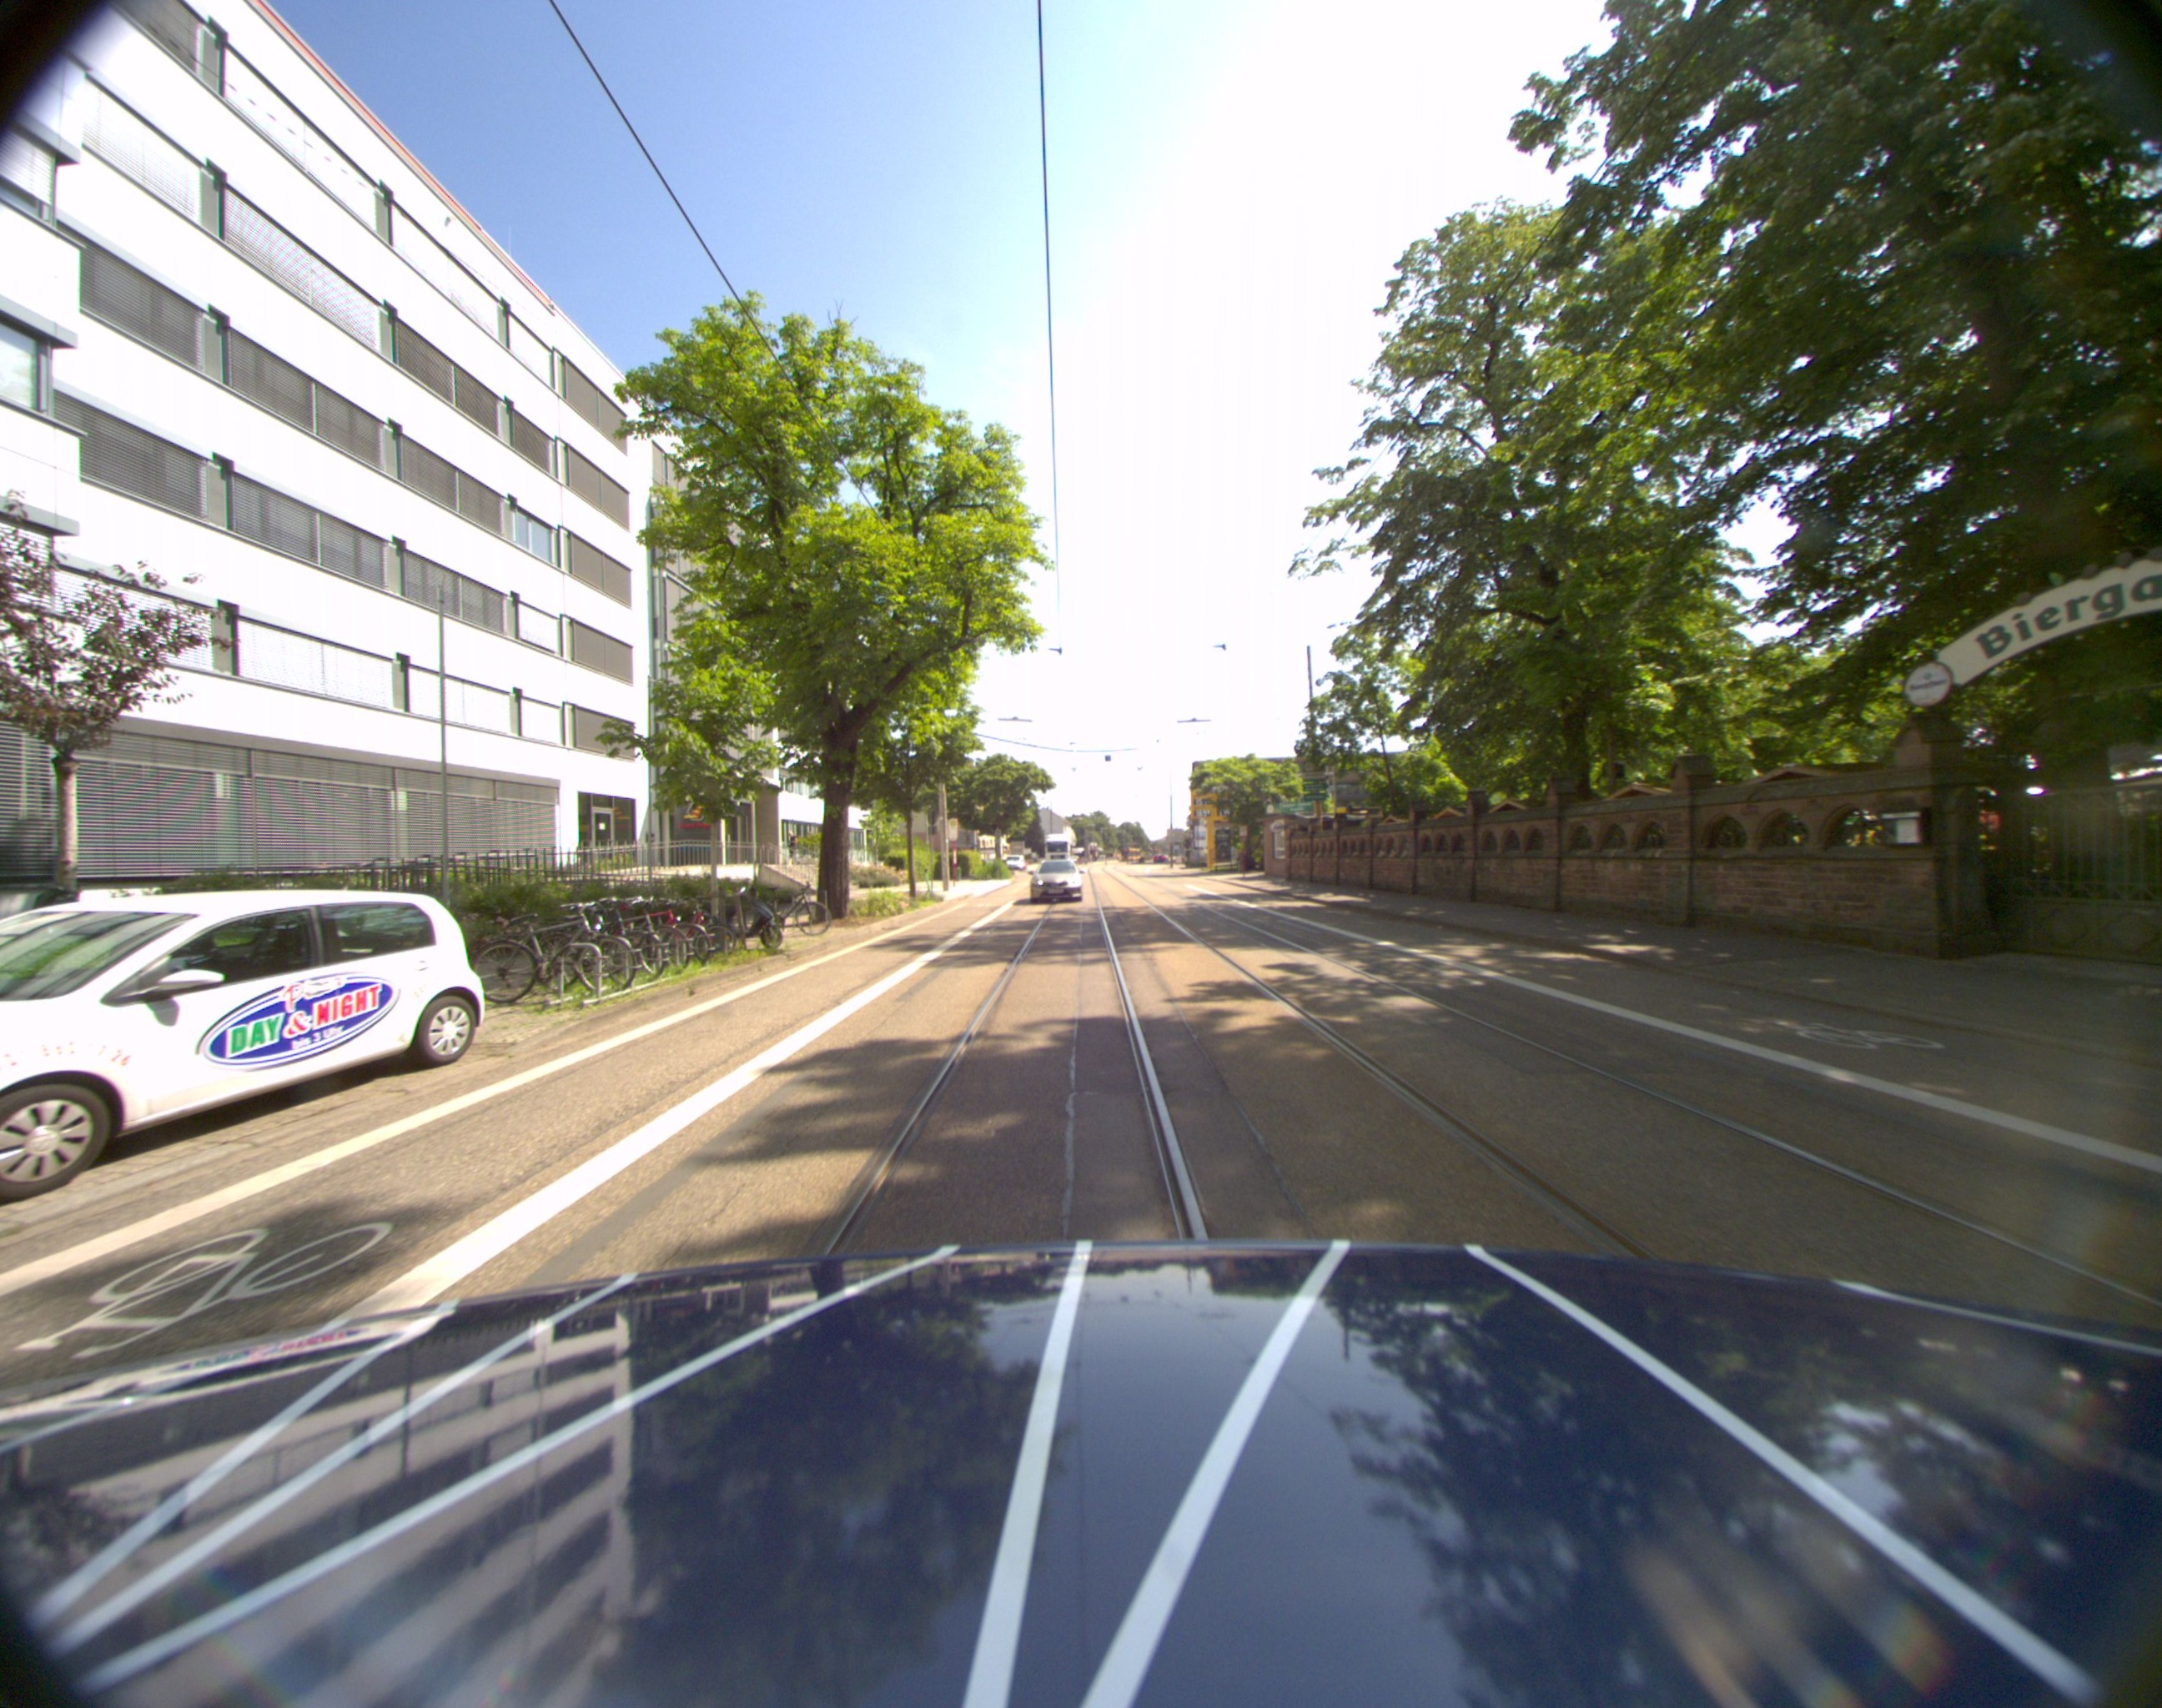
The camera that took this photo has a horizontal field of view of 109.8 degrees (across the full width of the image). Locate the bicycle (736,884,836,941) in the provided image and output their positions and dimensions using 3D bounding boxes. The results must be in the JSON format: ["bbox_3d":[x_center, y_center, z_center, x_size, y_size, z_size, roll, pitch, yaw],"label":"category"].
[{"bbox_3d":[-5.986,1.185,15.494,1.779,1.076,0.596,-1,1,-2],"label":"bicycle"}]

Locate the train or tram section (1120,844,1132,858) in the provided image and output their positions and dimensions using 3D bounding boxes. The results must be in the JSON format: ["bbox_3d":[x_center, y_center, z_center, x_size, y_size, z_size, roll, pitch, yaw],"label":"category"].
[{"bbox_3d":[11.715,-0.793,194.999,2.685,3.460,13.342,-1,0,5],"label":"train or tram section"}]

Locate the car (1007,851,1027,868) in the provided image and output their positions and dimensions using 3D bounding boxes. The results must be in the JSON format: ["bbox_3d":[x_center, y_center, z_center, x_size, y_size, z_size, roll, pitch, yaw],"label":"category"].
[{"bbox_3d":[-7.933,0.709,94.385,1.981,2.043,5.191,0,0,1],"label":"car"}]

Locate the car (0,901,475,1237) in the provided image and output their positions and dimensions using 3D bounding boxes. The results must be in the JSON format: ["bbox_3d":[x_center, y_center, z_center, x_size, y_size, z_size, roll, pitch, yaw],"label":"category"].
[{"bbox_3d":[-6.025,1.145,4.526,1.594,1.442,3.946,-1,0,1],"label":"car"}]

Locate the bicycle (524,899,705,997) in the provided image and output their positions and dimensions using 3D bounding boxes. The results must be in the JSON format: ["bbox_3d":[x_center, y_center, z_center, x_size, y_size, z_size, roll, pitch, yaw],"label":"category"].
[{"bbox_3d":[-6.043,1.209,9.899,1.917,1.076,0.550,-4,1,-2],"label":"bicycle"}]

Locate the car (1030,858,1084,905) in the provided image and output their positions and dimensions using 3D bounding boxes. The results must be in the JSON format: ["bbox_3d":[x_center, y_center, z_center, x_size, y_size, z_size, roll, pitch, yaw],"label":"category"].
[{"bbox_3d":[-0.831,0.902,27.074,1.695,1.440,4.480,-2,0,-1],"label":"car"}]

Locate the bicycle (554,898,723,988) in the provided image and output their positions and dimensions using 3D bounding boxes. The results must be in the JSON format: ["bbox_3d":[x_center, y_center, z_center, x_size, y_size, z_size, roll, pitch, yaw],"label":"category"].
[{"bbox_3d":[-6.079,1.213,10.499,1.917,1.076,0.550,-3,1,-2],"label":"bicycle"}]

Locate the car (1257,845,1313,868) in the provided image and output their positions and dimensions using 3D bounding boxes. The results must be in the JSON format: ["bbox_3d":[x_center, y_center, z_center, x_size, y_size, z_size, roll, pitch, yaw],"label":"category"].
[{"bbox_3d":[15.140,0.171,56.224,1.944,1.615,4.587,-1,1,45],"label":"car"}]

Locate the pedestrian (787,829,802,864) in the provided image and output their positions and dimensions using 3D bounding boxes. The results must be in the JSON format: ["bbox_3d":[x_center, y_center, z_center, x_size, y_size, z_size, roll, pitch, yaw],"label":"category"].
[{"bbox_3d":[-14.275,-0.373,37.856,0.500,1.718,0.547,-2,1,0],"label":"pedestrian"}]

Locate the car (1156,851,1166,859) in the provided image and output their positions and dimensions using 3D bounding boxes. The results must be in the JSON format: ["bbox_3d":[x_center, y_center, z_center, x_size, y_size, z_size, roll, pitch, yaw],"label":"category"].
[{"bbox_3d":[16.292,0.284,154.806,1.750,1.562,3.892,0,1,5],"label":"car"}]

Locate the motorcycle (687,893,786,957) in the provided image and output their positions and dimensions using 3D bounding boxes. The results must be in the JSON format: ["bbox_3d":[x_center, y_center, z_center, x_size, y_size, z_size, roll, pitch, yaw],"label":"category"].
[{"bbox_3d":[-6.031,1.241,13.343,1.469,1.040,0.534,-1,1,-2],"label":"motorcycle"}]

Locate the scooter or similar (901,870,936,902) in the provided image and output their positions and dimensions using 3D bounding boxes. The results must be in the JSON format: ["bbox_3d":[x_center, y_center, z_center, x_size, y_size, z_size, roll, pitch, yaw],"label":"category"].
[{"bbox_3d":[-6.080,1.196,28.440,1.145,1.147,0.493,-2,1,6],"label":"scooter or similar"}]

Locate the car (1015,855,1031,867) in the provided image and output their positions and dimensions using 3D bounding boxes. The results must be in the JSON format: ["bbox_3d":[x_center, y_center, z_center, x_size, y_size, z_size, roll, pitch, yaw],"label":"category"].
[{"bbox_3d":[-7.712,0.931,100.942,1.726,1.435,4.312,0,0,1],"label":"car"}]

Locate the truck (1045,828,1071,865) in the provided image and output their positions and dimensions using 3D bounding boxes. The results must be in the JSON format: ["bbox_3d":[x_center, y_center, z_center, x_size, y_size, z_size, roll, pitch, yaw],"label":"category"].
[{"bbox_3d":[-2.487,-0.773,82.985,2.657,3.772,7.862,-1,0,-1],"label":"truck"}]

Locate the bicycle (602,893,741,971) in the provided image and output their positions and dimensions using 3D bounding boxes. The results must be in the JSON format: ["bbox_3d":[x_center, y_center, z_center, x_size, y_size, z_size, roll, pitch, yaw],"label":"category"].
[{"bbox_3d":[-6.299,1.190,11.748,1.779,1.113,0.596,-1,1,-2],"label":"bicycle"}]

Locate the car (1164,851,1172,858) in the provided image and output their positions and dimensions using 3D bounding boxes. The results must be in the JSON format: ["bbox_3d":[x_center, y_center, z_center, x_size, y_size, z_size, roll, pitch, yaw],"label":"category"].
[{"bbox_3d":[20.787,0.113,182.328,1.715,1.613,3.581,-2,0,8],"label":"car"}]

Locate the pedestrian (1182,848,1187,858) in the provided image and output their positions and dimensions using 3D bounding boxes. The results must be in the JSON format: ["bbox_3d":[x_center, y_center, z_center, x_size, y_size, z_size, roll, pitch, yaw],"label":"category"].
[{"bbox_3d":[18.084,-0.183,132.517,0.846,1.808,0.839,-1,0,8],"label":"pedestrian"}]

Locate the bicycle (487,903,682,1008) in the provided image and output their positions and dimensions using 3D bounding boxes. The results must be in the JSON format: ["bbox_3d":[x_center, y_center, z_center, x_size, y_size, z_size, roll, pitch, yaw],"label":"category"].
[{"bbox_3d":[-6.025,1.218,9.286,1.917,1.076,0.550,-4,1,-2],"label":"bicycle"}]

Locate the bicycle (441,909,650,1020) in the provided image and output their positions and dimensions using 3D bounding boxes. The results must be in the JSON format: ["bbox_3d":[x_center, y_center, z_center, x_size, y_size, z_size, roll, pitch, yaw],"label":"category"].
[{"bbox_3d":[-6.045,1.236,8.645,1.890,1.076,0.550,-3,1,-2],"label":"bicycle"}]
